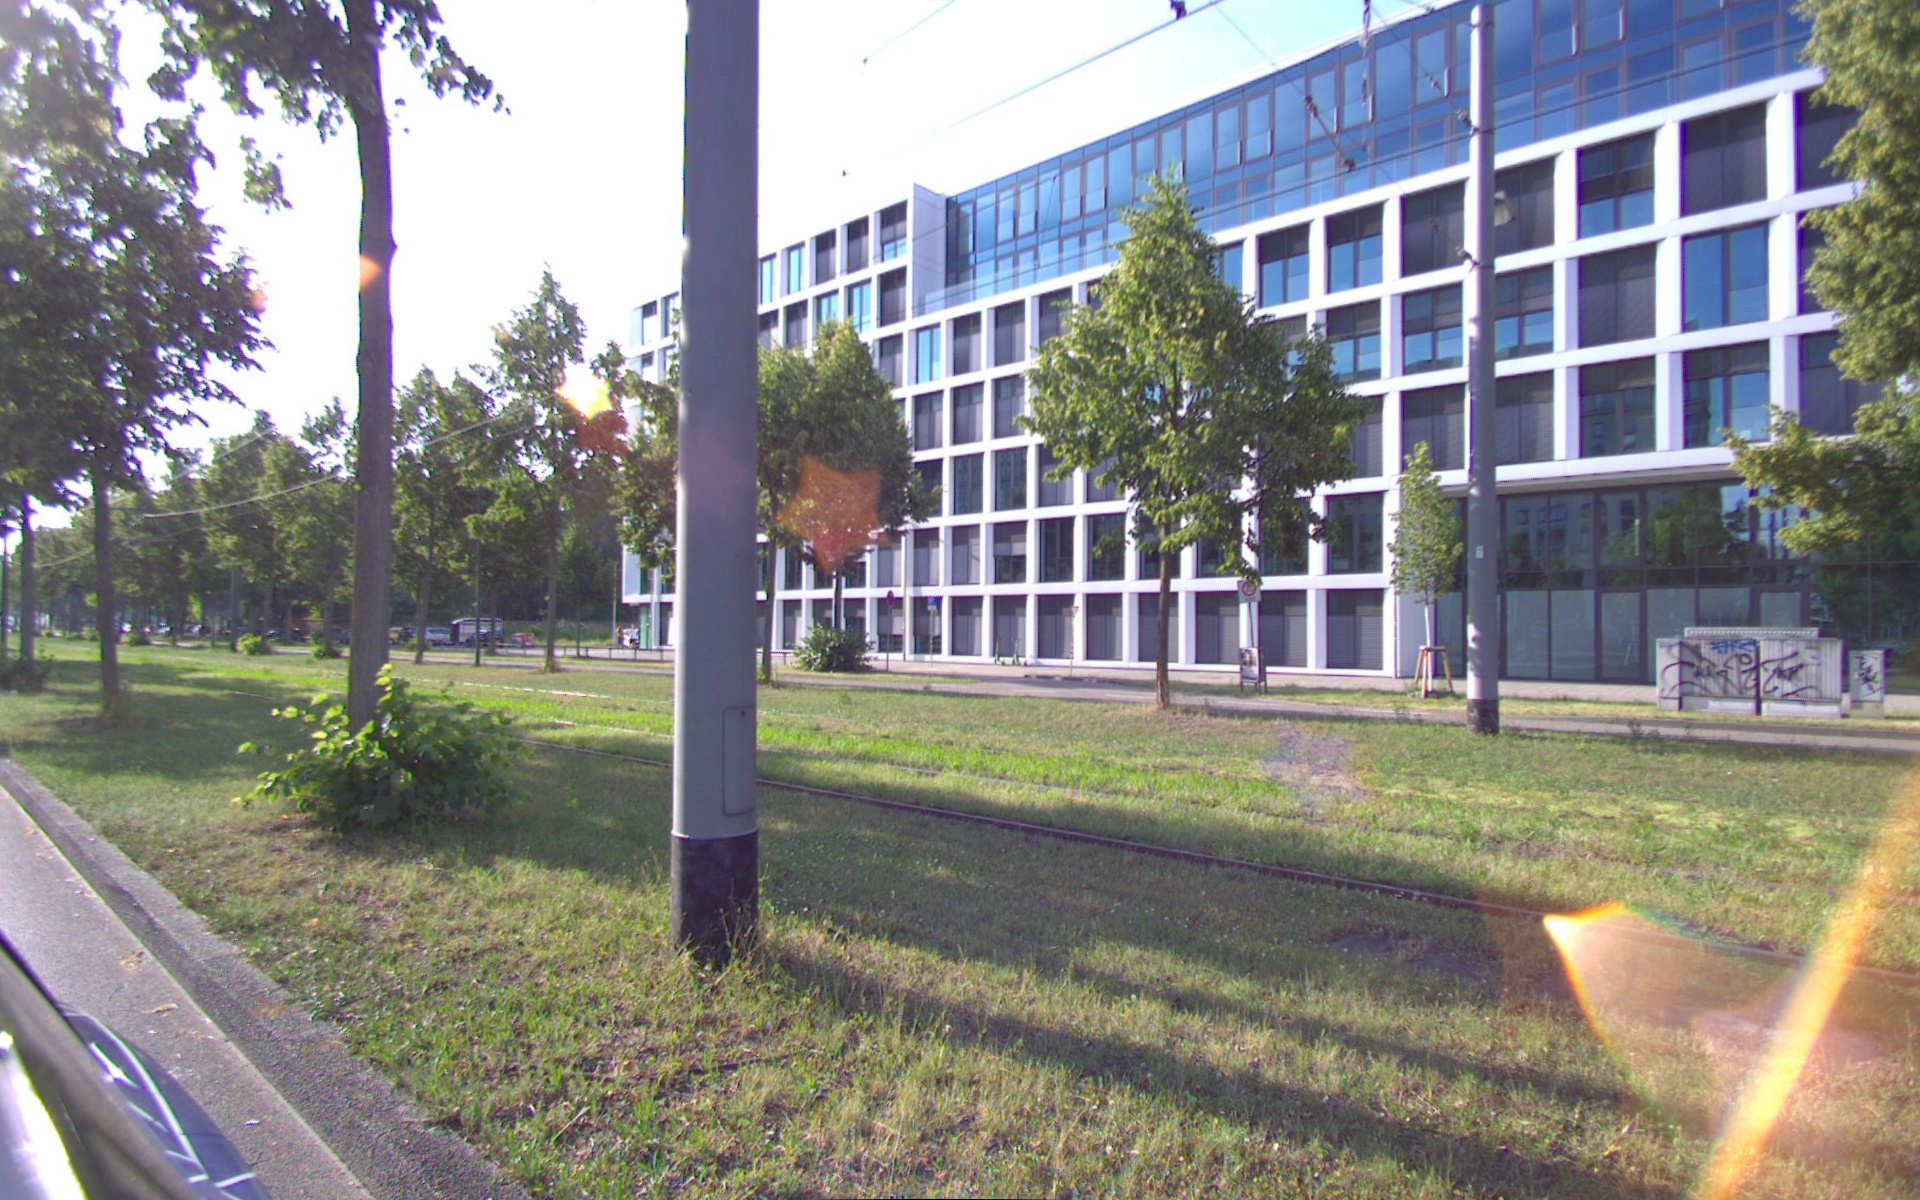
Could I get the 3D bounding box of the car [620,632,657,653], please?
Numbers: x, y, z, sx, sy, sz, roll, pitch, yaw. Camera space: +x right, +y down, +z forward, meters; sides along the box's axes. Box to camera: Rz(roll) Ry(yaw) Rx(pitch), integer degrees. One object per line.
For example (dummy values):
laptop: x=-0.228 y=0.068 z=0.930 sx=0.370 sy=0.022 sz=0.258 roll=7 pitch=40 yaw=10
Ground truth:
car: x=-27.447 y=3.594 z=86.357 sx=1.824 sy=1.608 sz=4.009 roll=-1 pitch=0 yaw=-37

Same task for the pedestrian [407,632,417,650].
pedestrian: x=-47.182 y=3.523 z=87.130 sx=0.568 sy=1.491 sz=0.516 roll=-1 pitch=0 yaw=41

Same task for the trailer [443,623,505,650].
trailer: x=-40.807 y=3.043 z=85.045 sx=4.314 sy=2.069 sz=1.759 roll=-1 pitch=0 yaw=-45

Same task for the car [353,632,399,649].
car: x=-57.127 y=3.950 z=99.007 sx=1.810 sy=1.439 sz=3.606 roll=-1 pitch=0 yaw=44

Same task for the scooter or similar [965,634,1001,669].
scooter or similar: x=1.063 y=2.330 z=46.304 sx=1.906 sy=1.488 sz=0.415 roll=-1 pitch=0 yaw=-44

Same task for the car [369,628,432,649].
car: x=-54.164 y=3.690 z=98.004 sx=1.886 sy=1.748 sz=5.003 roll=-1 pitch=0 yaw=44

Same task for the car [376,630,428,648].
car: x=-52.911 y=3.672 z=95.954 sx=1.857 sy=1.572 sz=3.942 roll=-1 pitch=0 yaw=44

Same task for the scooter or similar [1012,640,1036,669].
scooter or similar: x=2.873 y=2.454 z=45.339 sx=0.331 sy=1.235 sz=1.302 roll=-1 pitch=0 yaw=-34

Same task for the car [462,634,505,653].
car: x=-38.560 y=3.521 z=81.894 sx=3.758 sy=1.404 sz=1.663 roll=-1 pitch=0 yaw=39

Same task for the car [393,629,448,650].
car: x=-48.103 y=3.482 z=90.301 sx=1.758 sy=1.655 sz=3.949 roll=-1 pitch=0 yaw=42

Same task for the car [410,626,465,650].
car: x=-45.675 y=3.302 z=88.482 sx=1.758 sy=1.962 sz=3.949 roll=-1 pitch=0 yaw=42

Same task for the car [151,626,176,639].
car: x=-97.314 y=3.952 z=123.613 sx=4.475 sy=1.442 sz=1.810 roll=-1 pitch=0 yaw=43

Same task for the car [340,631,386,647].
car: x=-61.724 y=4.056 z=104.637 sx=3.810 sy=1.497 sz=1.746 roll=-1 pitch=0 yaw=-40

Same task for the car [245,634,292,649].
car: x=-69.901 y=4.167 z=102.317 sx=3.995 sy=1.446 sz=1.680 roll=-1 pitch=0 yaw=13

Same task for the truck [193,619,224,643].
truck: x=-113.745 y=4.629 z=153.172 sx=2.854 sy=3.542 sz=7.952 roll=-1 pitch=0 yaw=-43
